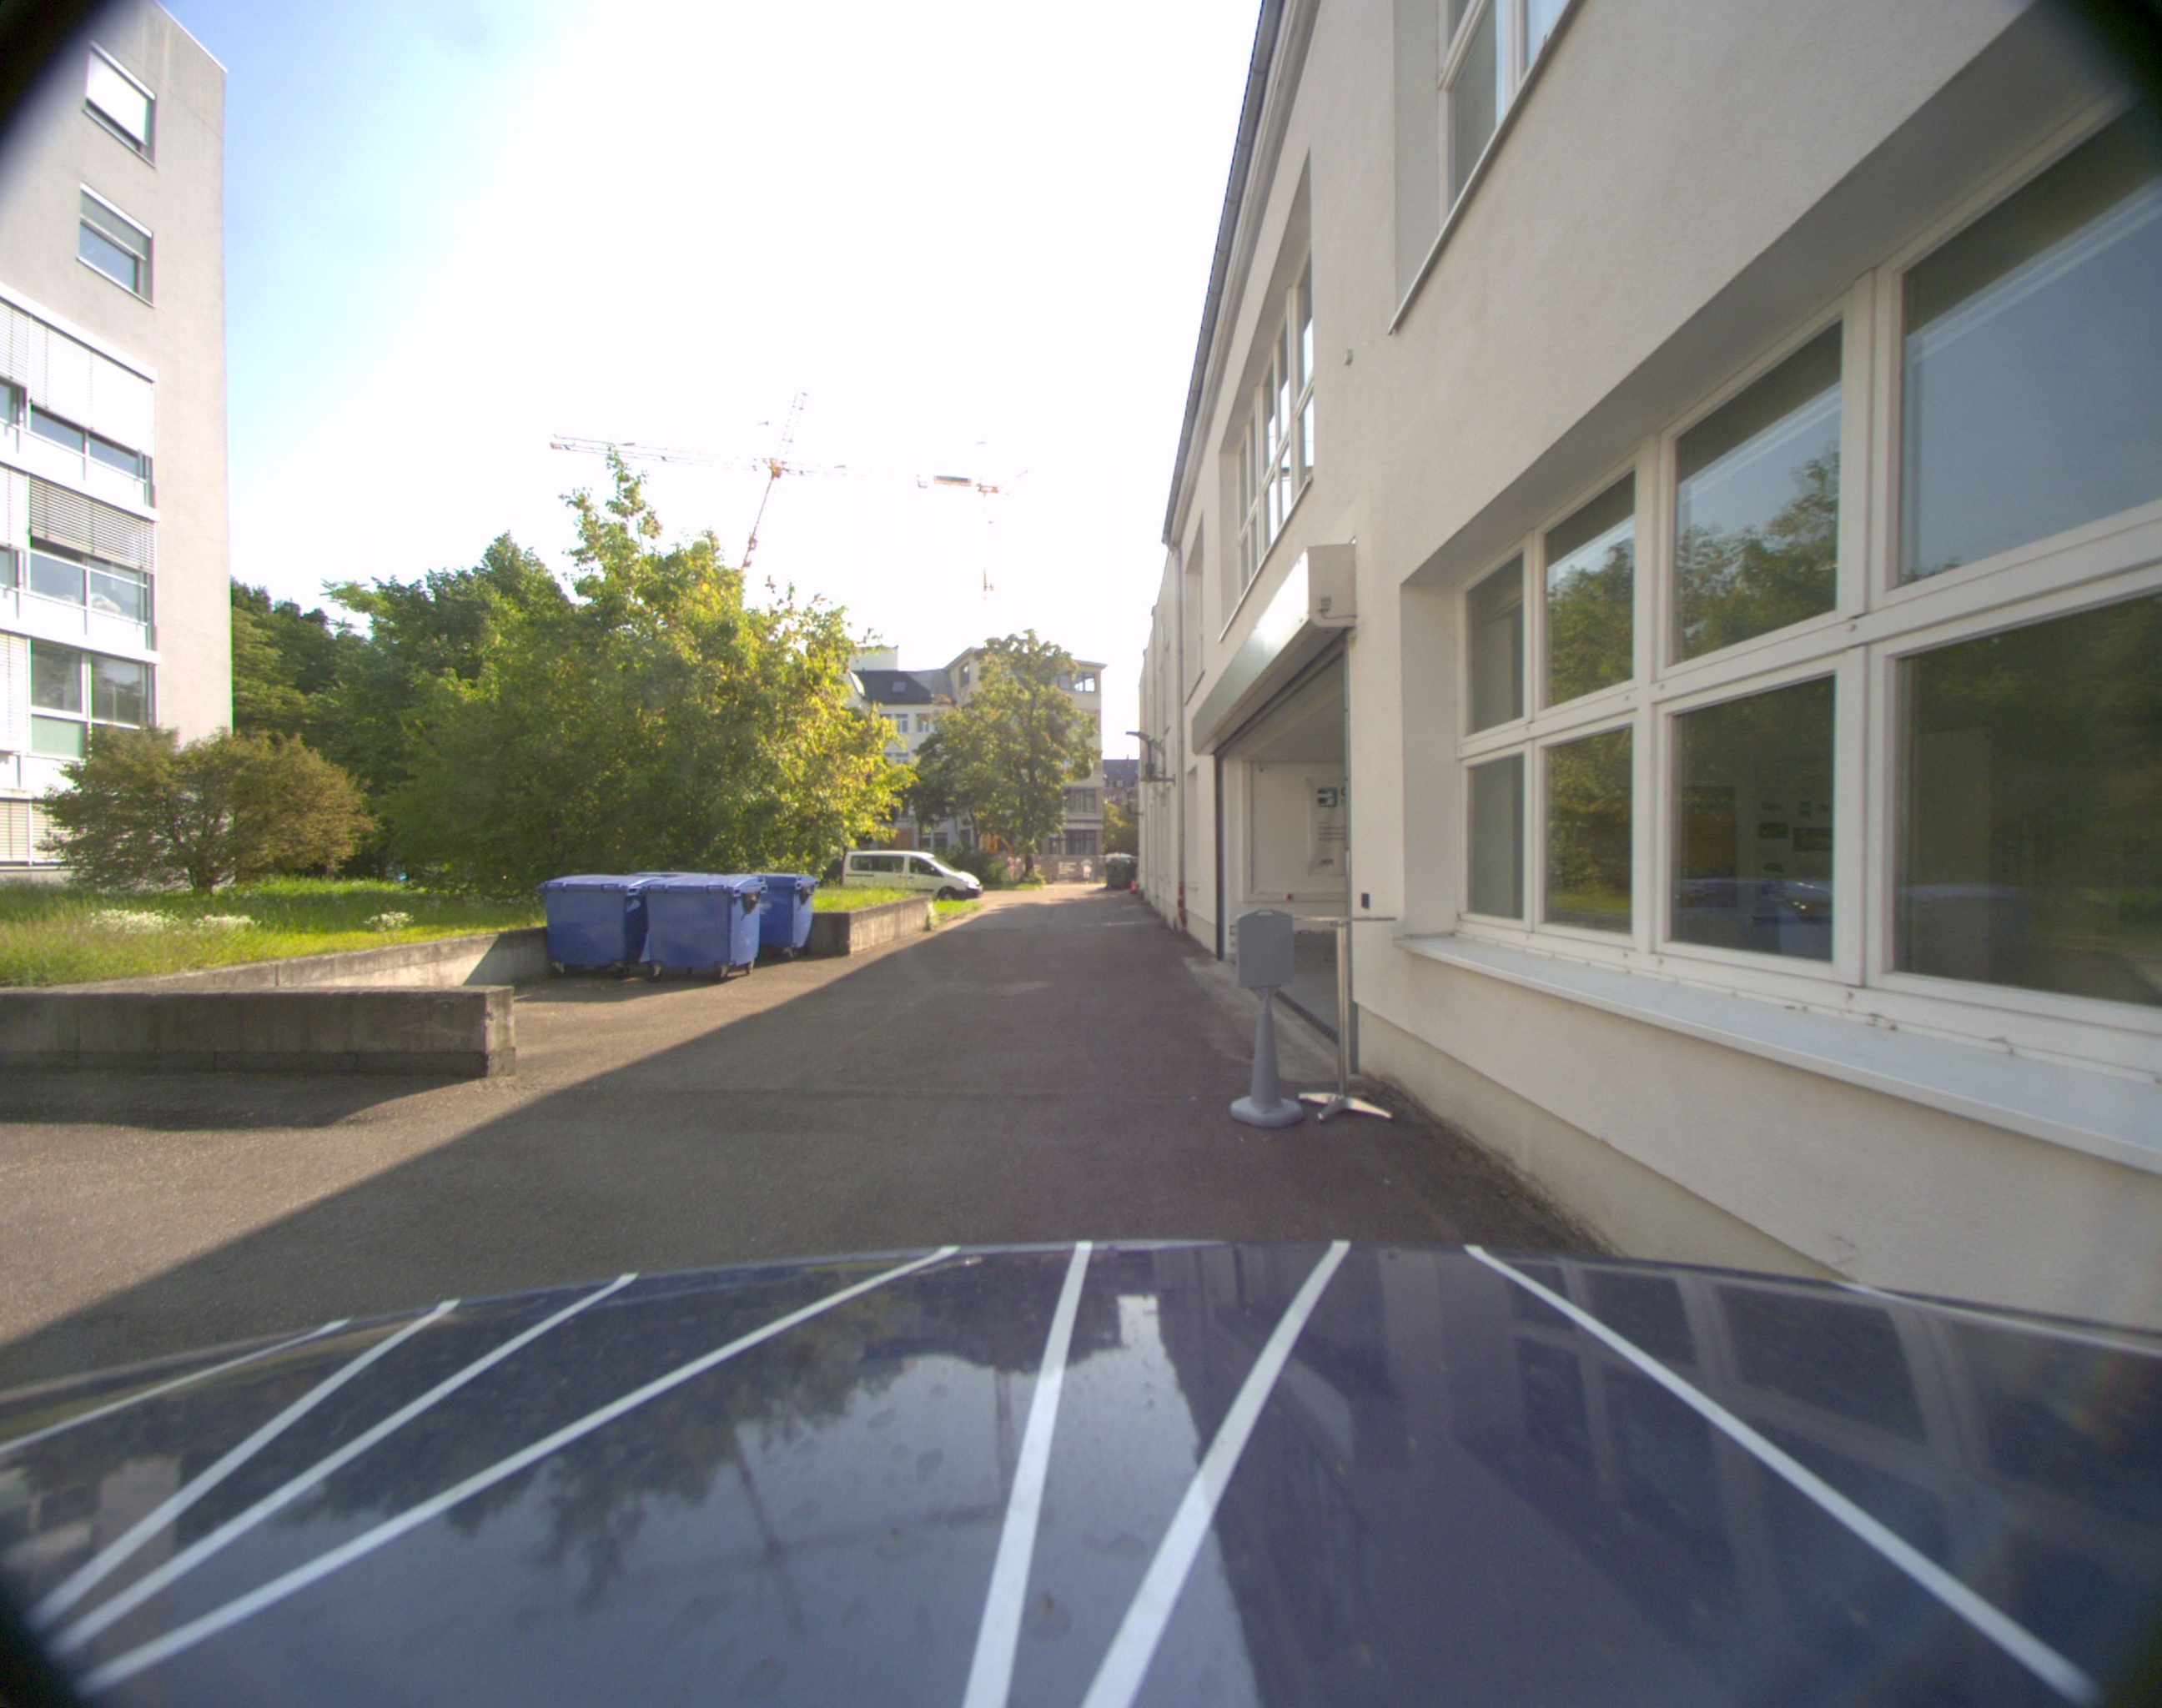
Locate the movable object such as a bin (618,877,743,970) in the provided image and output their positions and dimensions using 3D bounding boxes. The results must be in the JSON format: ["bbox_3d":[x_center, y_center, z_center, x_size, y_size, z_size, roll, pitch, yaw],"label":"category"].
[{"bbox_3d":[-6.138,1.035,11.744,1.199,1.320,1.275,-1,0,3],"label":"movable object such as a bin"}]

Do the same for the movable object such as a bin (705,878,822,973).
[{"bbox_3d":[-4.800,1.056,11.596,1.199,1.320,1.275,-1,0,3],"label":"movable object such as a bin"}]

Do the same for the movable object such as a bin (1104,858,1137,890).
[{"bbox_3d":[1.892,0.935,36.172,1.524,1.457,1.275,-1,0,3],"label":"movable object such as a bin"}]

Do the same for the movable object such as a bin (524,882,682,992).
[{"bbox_3d":[-6.294,1.063,10.112,1.257,1.320,1.275,-1,0,3],"label":"movable object such as a bin"}]

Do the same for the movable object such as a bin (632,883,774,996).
[{"bbox_3d":[-4.924,1.083,10.026,1.213,1.343,1.275,-1,0,0],"label":"movable object such as a bin"}]

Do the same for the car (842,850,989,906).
[{"bbox_3d":[-5.829,0.819,27.102,4.788,1.920,1.909,0,0,4],"label":"car"}]
